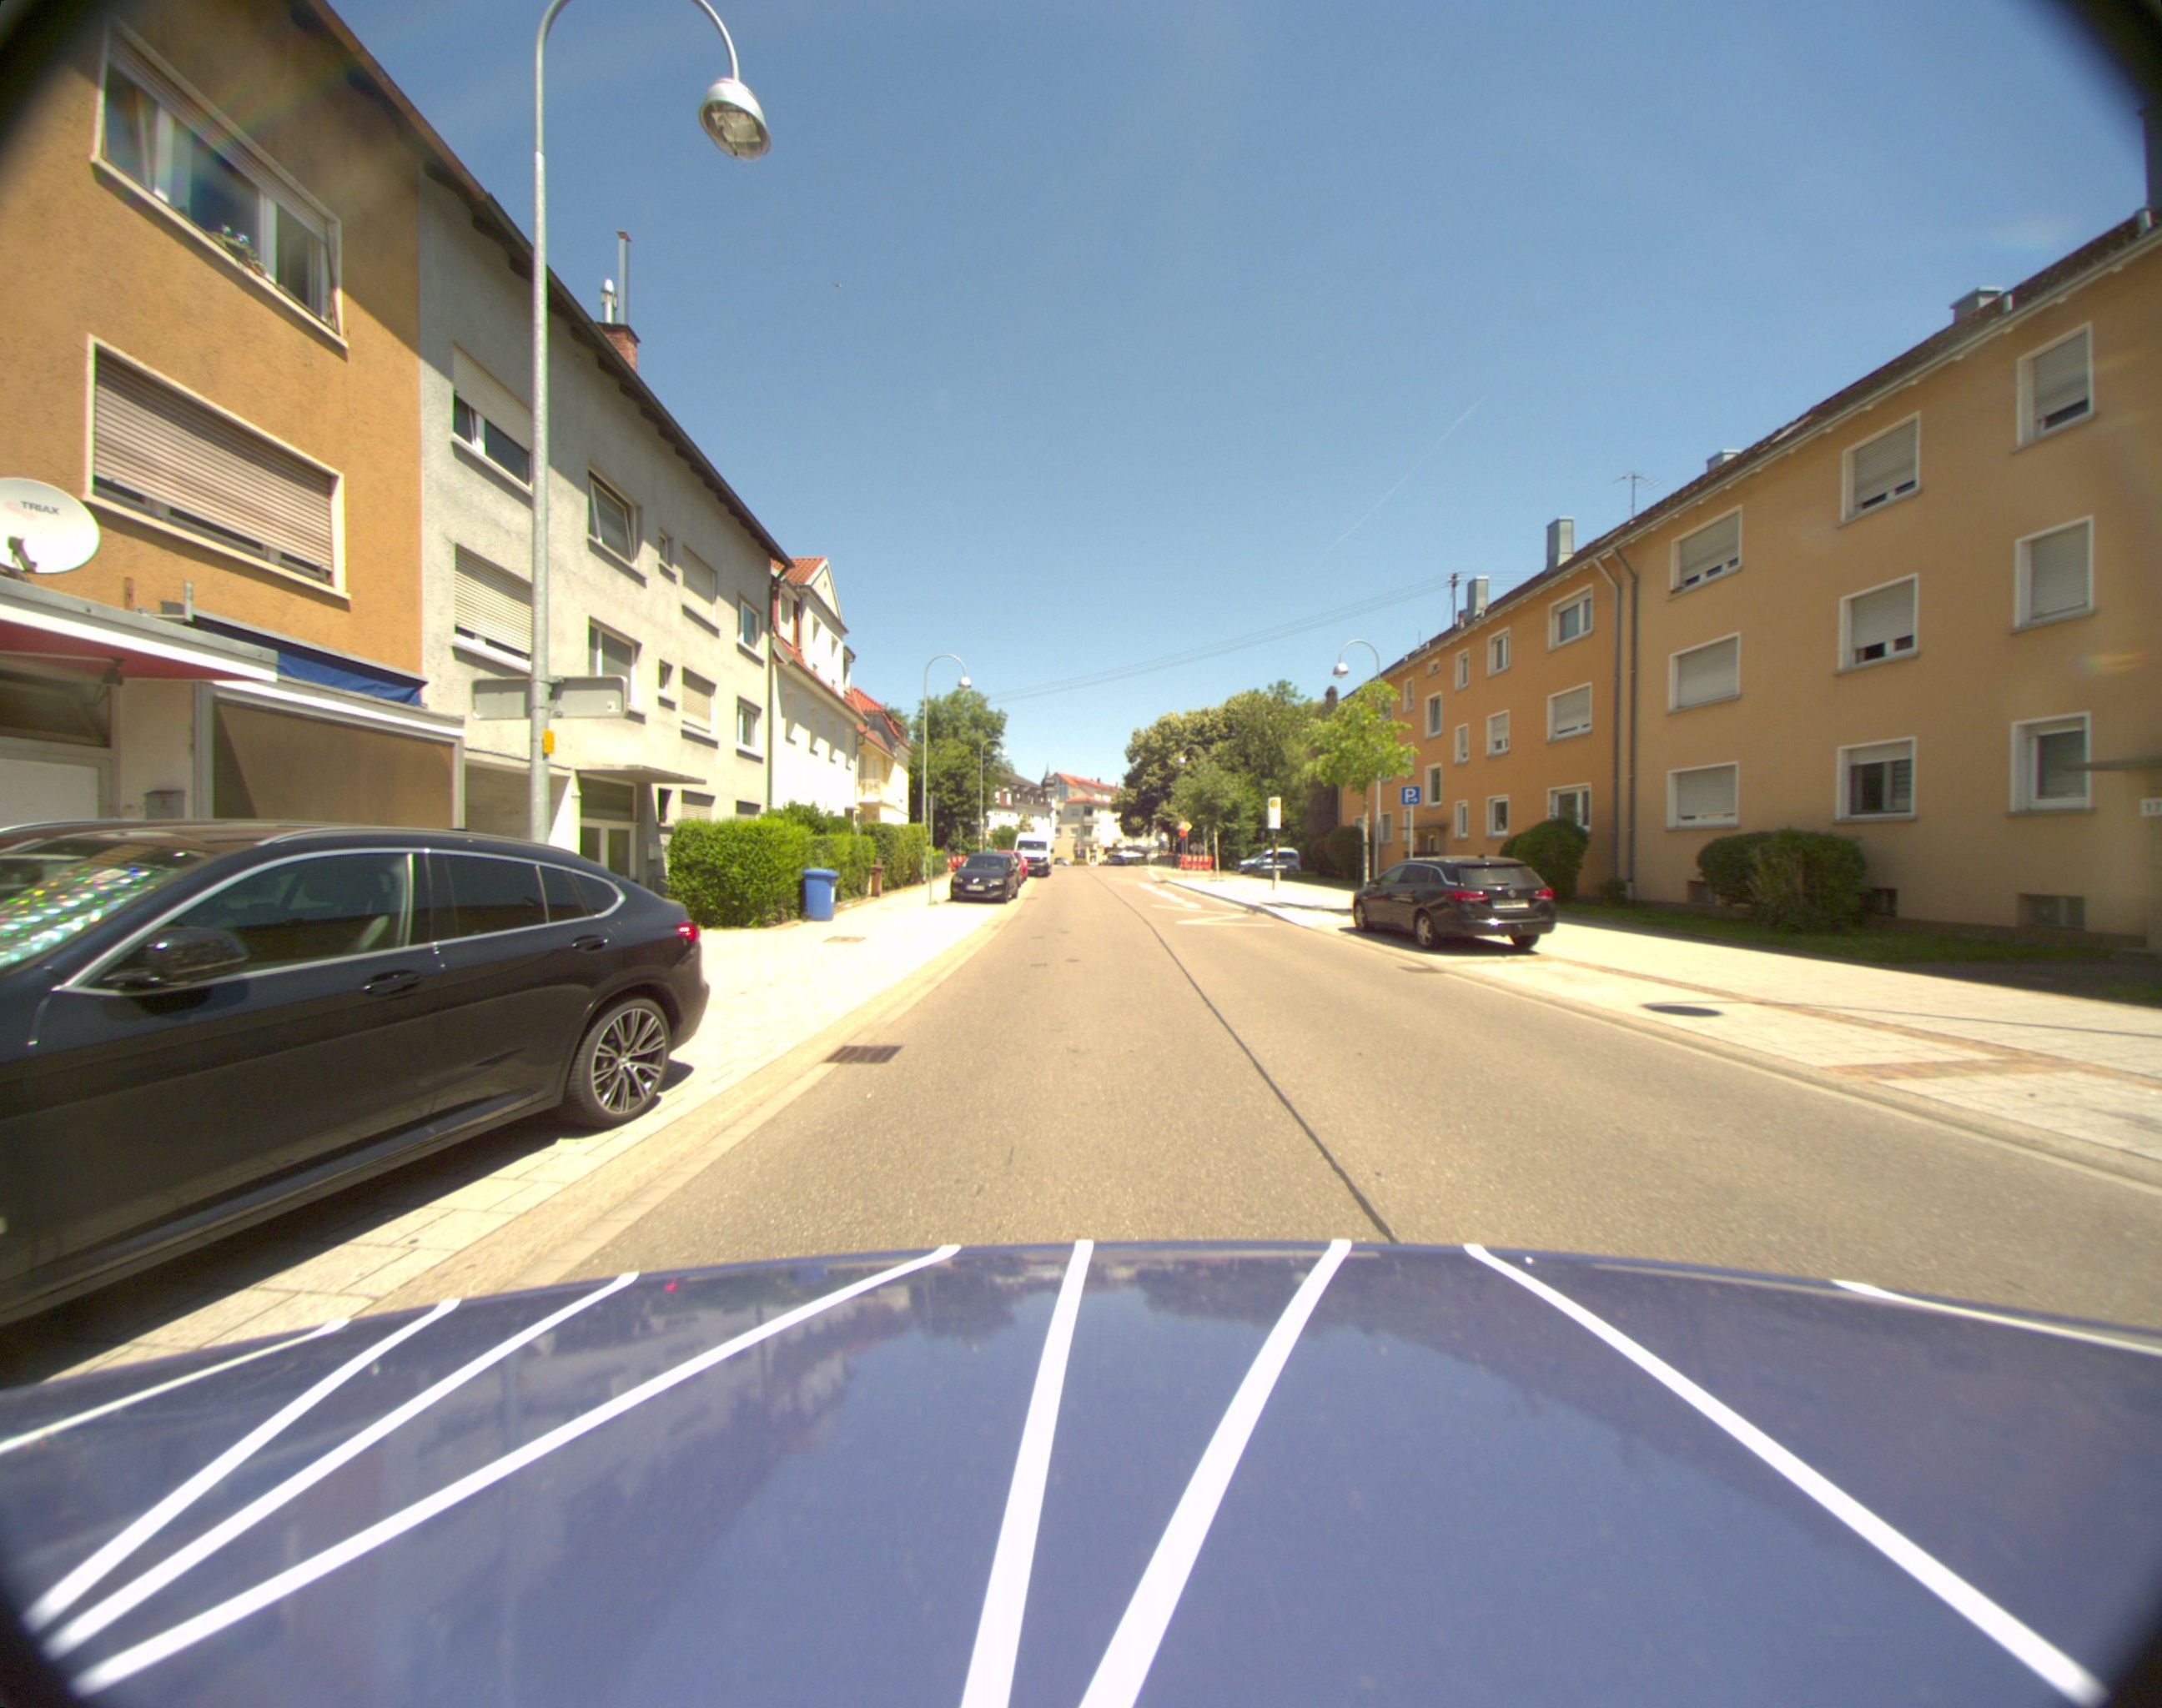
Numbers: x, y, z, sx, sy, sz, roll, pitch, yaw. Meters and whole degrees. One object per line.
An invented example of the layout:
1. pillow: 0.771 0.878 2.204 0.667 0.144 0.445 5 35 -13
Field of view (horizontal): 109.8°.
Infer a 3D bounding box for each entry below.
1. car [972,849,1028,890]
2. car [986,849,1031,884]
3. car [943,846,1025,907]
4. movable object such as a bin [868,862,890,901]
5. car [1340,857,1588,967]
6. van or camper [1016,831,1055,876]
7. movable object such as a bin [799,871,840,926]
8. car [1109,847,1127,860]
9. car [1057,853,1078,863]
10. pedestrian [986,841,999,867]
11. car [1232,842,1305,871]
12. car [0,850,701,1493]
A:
1. car: -3.251 0.568 31.291 1.808 1.466 4.719 3 0 -1
2. car: -3.364 0.540 35.988 1.808 1.521 4.149 1 1 -1
3. car: -2.854 0.612 23.156 1.732 1.623 4.001 3 0 3
4. movable object such as a bin: -5.911 0.796 22.220 0.488 1.097 0.555 0 1 -1
5. car: 6.309 0.844 13.233 1.862 1.498 4.561 -2 0 -2
6. van or camper: -2.721 -0.071 44.438 2.114 2.453 6.173 0 1 -5
7. movable object such as a bin: -5.352 0.908 15.582 0.595 1.070 0.647 1 1 -1
8. car: 4.483 -0.027 92.445 1.998 1.498 4.288 0 0 1
9. car: -2.155 0.694 121.886 3.038 1.444 1.570 -2 0 21
10. pedestrian: -5.797 0.000 49.659 0.522 1.696 0.802 4 0 -21
11. car: 12.626 0.134 51.201 4.439 1.863 1.817 0 1 -11
12. car: -3.635 0.825 2.719 1.899 1.598 4.367 2 1 8
